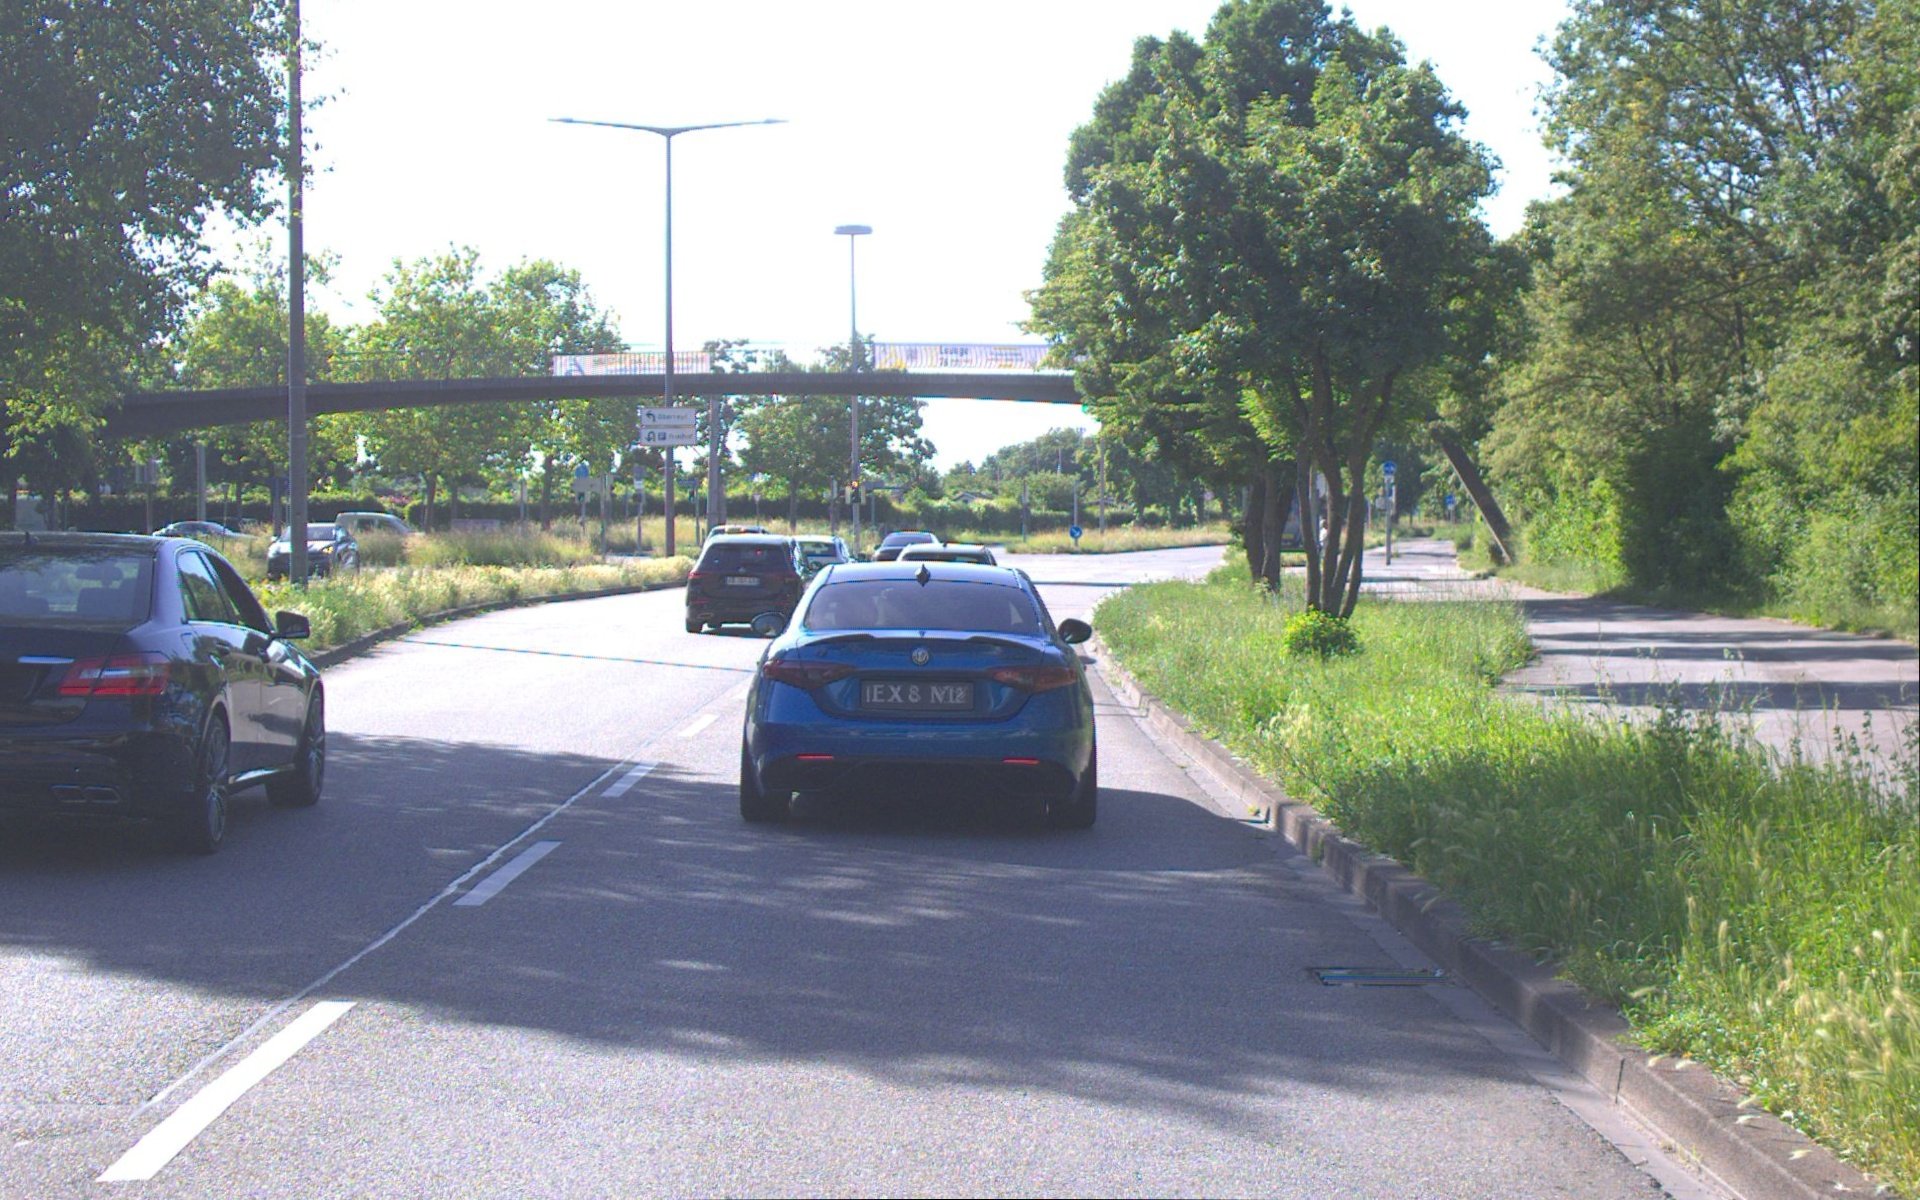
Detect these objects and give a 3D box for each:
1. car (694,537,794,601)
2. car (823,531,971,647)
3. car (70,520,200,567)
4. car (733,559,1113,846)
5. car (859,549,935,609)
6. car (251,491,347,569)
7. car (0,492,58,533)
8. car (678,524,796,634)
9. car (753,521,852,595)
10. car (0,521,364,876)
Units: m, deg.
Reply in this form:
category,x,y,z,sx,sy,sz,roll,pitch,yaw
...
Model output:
category,x,y,z,sx,sy,sz,roll,pitch,yaw
car,-5.416,-0.781,86.561,1.797,1.550,3.729,1,1,8
car,-0.845,-0.170,46.767,1.883,1.449,4.526,1,1,-1
car,-30.971,-2.118,129.041,4.311,1.645,1.998,2,1,20
car,-0.216,0.495,19.473,1.883,1.401,4.224,1,1,-1
car,-1.613,-0.559,88.429,1.883,1.449,4.526,1,1,-1
car,-17.744,-1.865,92.451,1.993,2.007,4.583,1,1,-4
car,-48.495,-4.464,174.524,4.786,2.007,2.000,1,1,2
car,-3.443,-0.339,53.239,1.707,1.592,4.224,1,1,-3
car,-3.231,-0.863,71.213,1.883,1.449,4.526,1,1,-1
car,-4.327,0.366,16.844,1.959,1.478,4.918,1,1,0
